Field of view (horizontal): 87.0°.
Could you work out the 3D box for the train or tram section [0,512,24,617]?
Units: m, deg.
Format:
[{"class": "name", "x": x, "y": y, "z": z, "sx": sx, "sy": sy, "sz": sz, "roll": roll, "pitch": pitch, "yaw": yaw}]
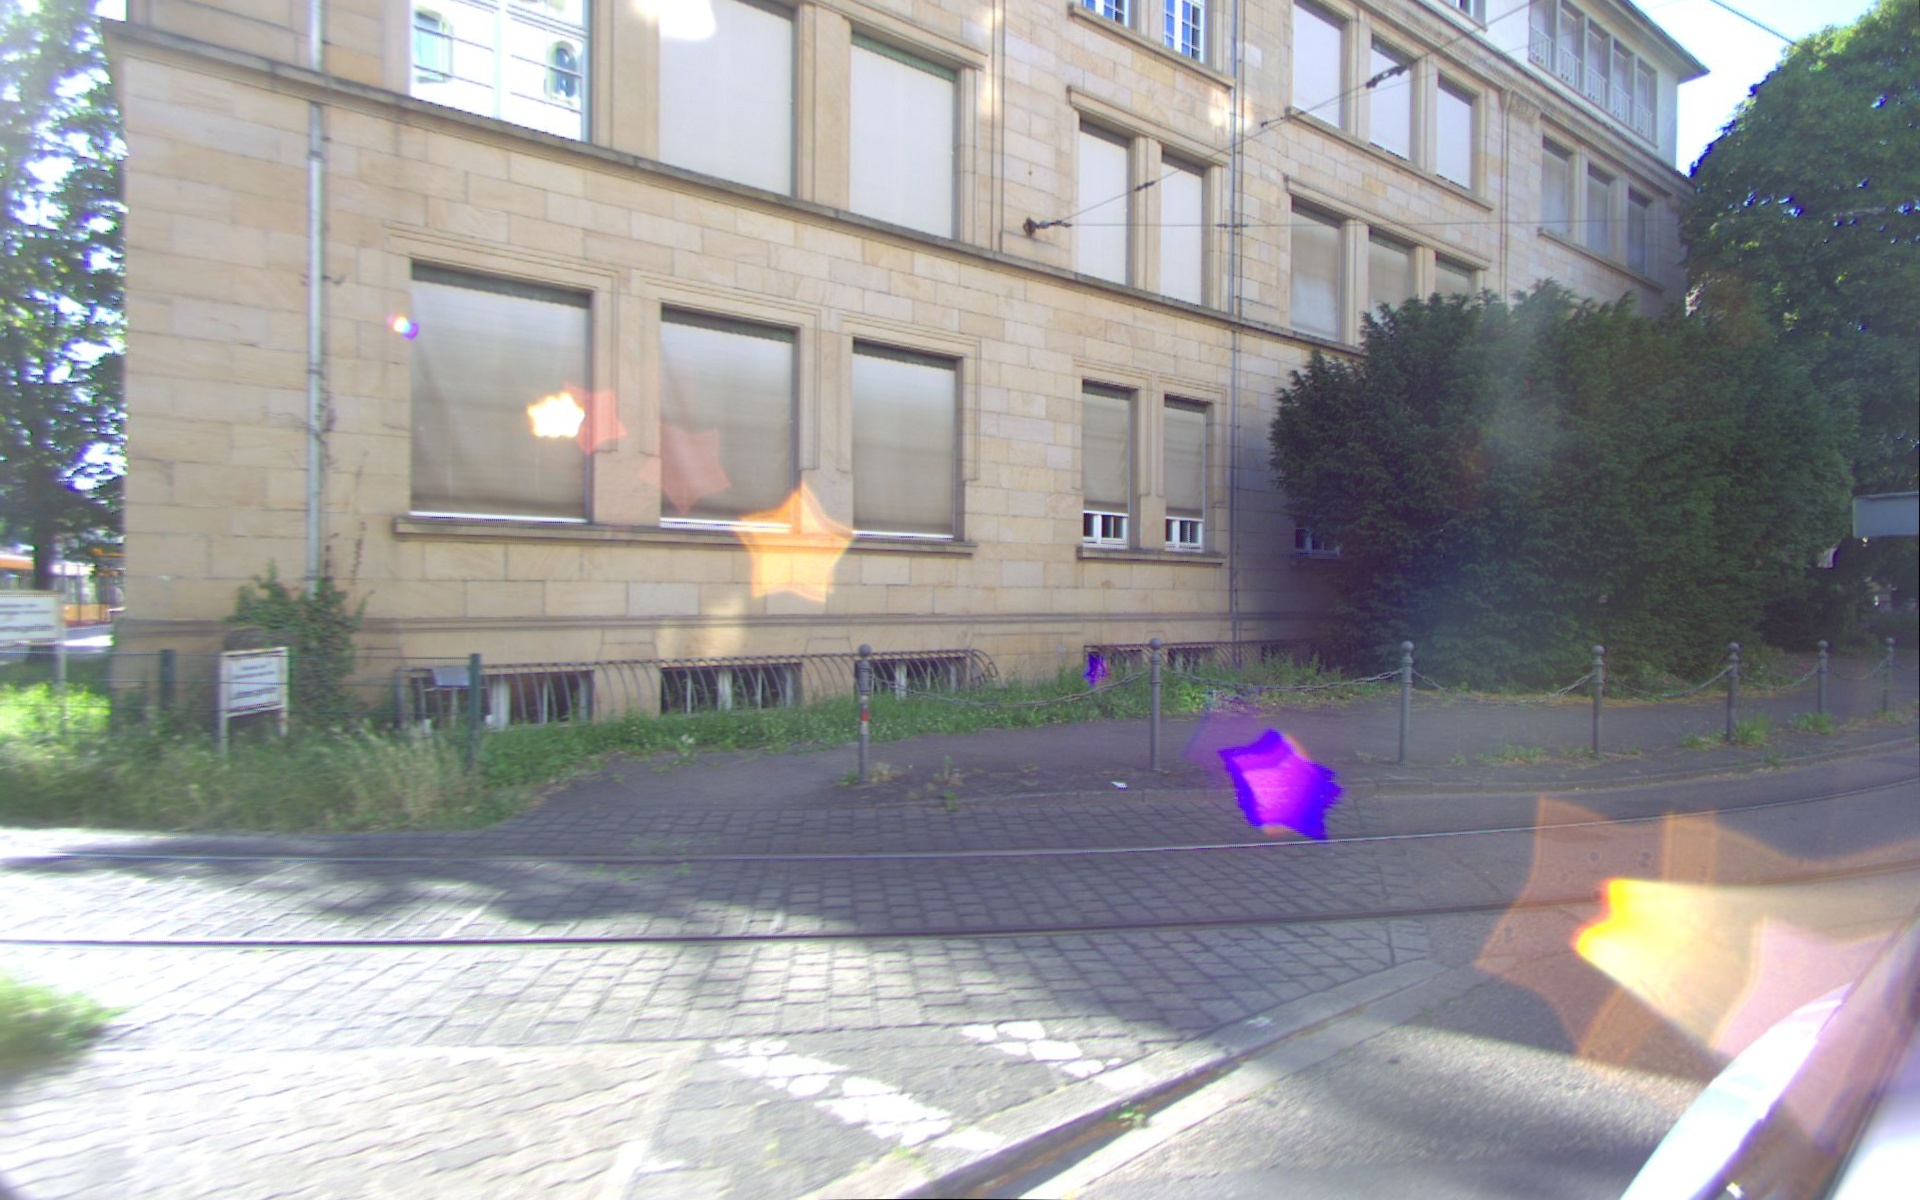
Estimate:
[{"class": "train or tram section", "x": -33.826, "y": -1.250, "z": 33.215, "sx": 2.793, "sy": 3.647, "sz": 9.869, "roll": 0, "pitch": -1, "yaw": -32}]
